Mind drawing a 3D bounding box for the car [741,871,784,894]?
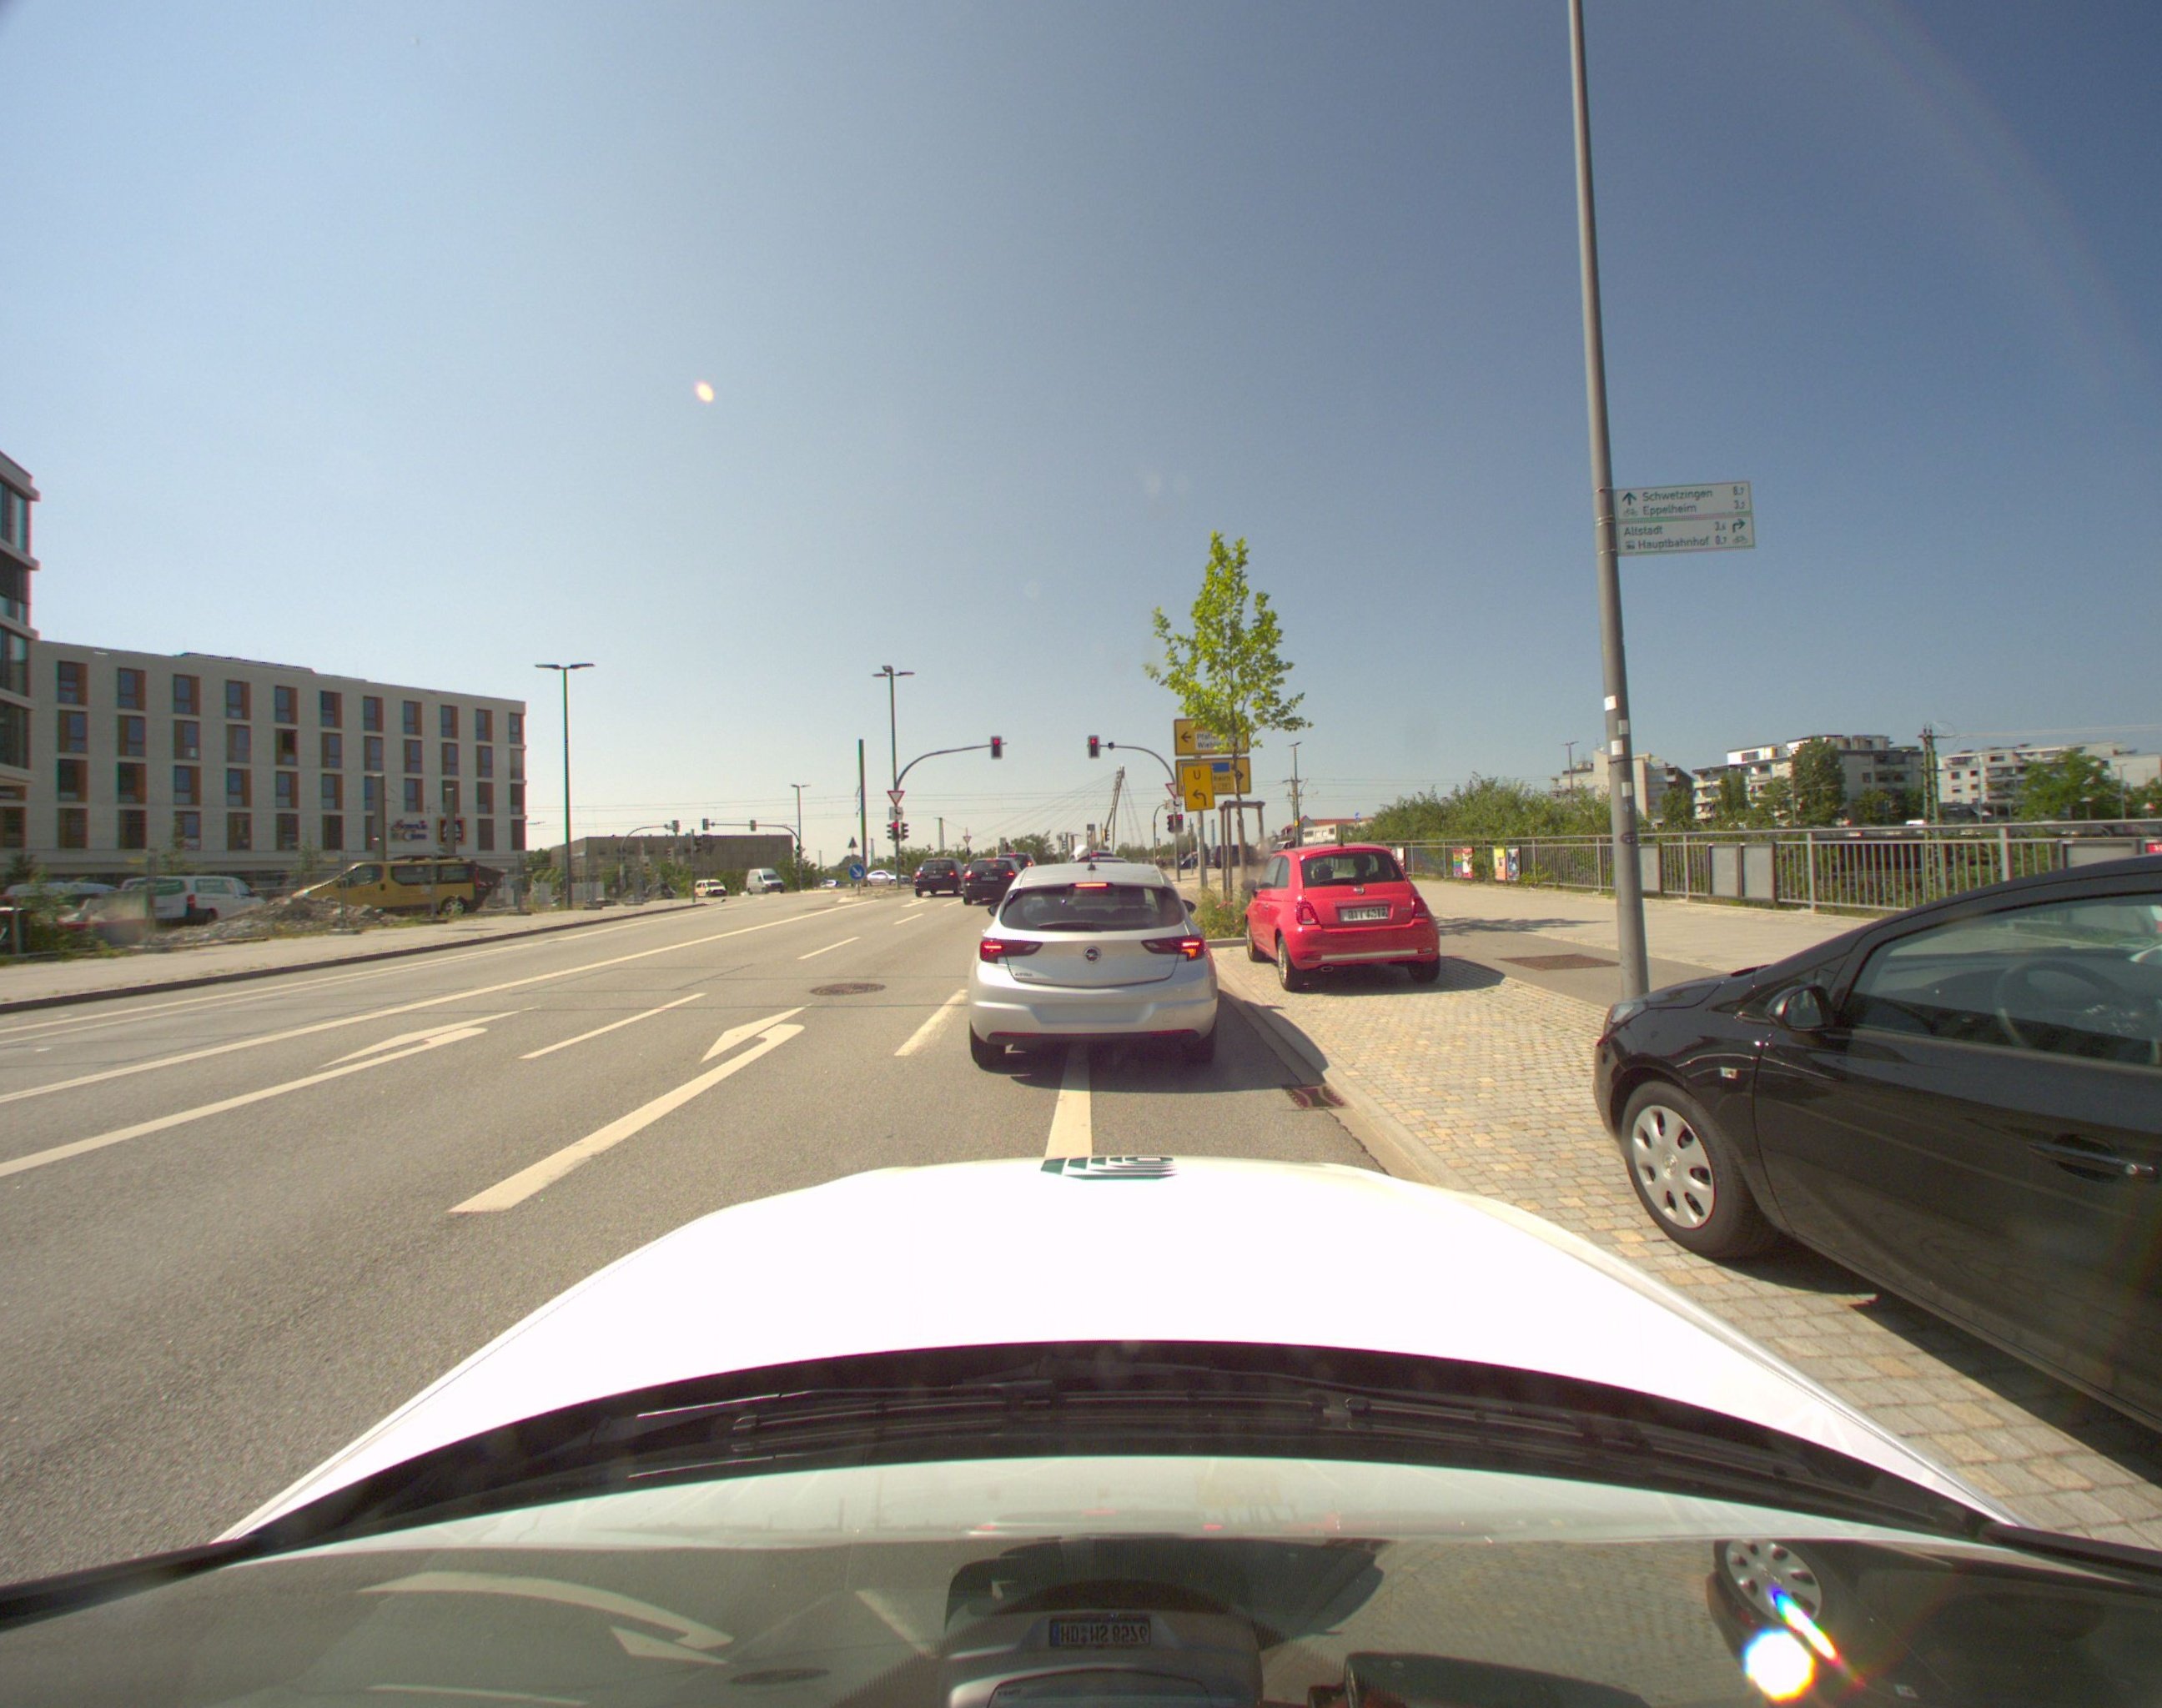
[{"bbox_3d":[-29.972,2.646,76.504,4.778,2.119,1.808,-1,-1,42],"label":"car"}]

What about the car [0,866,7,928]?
[{"bbox_3d":[-36.166,1.403,25.048,2.220,2.056,4.133,0,-1,-28],"label":"car"}]

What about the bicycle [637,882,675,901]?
[{"bbox_3d":[-26.399,2.339,50.574,2.337,1.127,0.681,-1,-1,21],"label":"bicycle"}]

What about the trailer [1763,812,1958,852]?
[{"bbox_3d":[68.116,-1.802,71.137,17.225,3.204,3.723,0,-1,-14],"label":"trailer"}]

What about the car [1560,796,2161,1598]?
[{"bbox_3d":[2.876,0.640,1.744,1.576,1.555,3.548,-4,0,1],"label":"car"}]

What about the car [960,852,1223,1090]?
[{"bbox_3d":[0.114,0.776,7.440,1.685,1.520,4.271,-1,0,1],"label":"car"}]

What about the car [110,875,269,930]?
[{"bbox_3d":[-31.032,1.626,28.571,2.003,1.707,4.526,0,-1,-23],"label":"car"}]

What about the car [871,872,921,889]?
[{"bbox_3d":[-15.019,2.111,65.995,3.668,1.333,1.782,-1,-1,27],"label":"car"}]

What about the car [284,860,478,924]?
[{"bbox_3d":[-22.638,1.149,26.498,1.974,1.890,4.514,-1,-1,40],"label":"car"}]

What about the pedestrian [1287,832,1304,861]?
[{"bbox_3d":[13.731,-0.461,52.169,0.747,1.863,0.744,0,-1,-44],"label":"pedestrian"}]

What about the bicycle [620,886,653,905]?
[{"bbox_3d":[-31.661,2.952,58.015,2.500,1.134,0.733,-5,-2,27],"label":"bicycle"}]

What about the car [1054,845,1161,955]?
[{"bbox_3d":[0.441,0.729,14.283,1.629,1.674,3.745,0,-1,1],"label":"car"}]

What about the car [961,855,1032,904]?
[{"bbox_3d":[-2.611,0.778,25.909,1.699,1.412,4.001,0,-1,2],"label":"car"}]

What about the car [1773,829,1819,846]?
[{"bbox_3d":[71.401,-1.605,81.328,3.513,1.641,1.791,0,-1,-16],"label":"car"}]

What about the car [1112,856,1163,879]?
[{"bbox_3d":[4.367,1.055,63.530,3.835,1.684,1.663,-1,-1,-2],"label":"car"}]

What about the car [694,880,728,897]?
[{"bbox_3d":[-35.226,3.245,77.470,3.453,1.524,1.649,-1,-1,40],"label":"car"}]

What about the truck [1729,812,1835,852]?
[{"bbox_3d":[59.298,-1.804,68.959,6.478,3.204,3.721,0,-1,-14],"label":"truck"}]

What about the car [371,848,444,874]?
[{"bbox_3d":[-54.290,0.578,65.733,3.990,2.014,1.991,0,-1,-12],"label":"car"}]

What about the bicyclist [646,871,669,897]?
[{"bbox_3d":[-26.336,1.869,50.611,0.937,1.569,0.827,-1,-1,23],"label":"bicyclist"}]

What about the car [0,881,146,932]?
[{"bbox_3d":[-33.730,1.685,27.238,1.809,1.508,3.965,0,-1,-27],"label":"car"}]

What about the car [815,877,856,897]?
[{"bbox_3d":[-26.261,3.489,87.139,3.948,2.014,2.013,-1,-1,32],"label":"car"}]

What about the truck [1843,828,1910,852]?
[{"bbox_3d":[82.751,-1.450,84.716,5.858,2.367,2.109,0,-1,-12],"label":"truck"}]

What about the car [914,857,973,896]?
[{"bbox_3d":[-5.205,0.838,31.228,1.581,1.395,3.340,-1,-1,1],"label":"car"}]

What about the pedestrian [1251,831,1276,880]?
[{"bbox_3d":[6.903,0.078,30.866,0.755,1.830,0.885,0,-1,1],"label":"pedestrian"}]

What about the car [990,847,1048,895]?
[{"bbox_3d":[-2.352,0.660,31.920,1.797,1.622,3.917,-4,-1,1],"label":"car"}]

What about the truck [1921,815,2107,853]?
[{"bbox_3d":[87.398,-1.781,76.263,17.857,3.204,3.723,0,-1,-14],"label":"truck"}]

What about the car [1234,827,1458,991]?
[{"bbox_3d":[3.006,0.575,10.080,1.662,1.540,3.921,-3,-1,4],"label":"car"}]

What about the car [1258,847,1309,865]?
[{"bbox_3d":[19.270,0.180,77.455,4.254,1.673,1.989,-1,-1,-16],"label":"car"}]

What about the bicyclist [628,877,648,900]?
[{"bbox_3d":[-31.508,2.447,57.923,0.814,1.560,0.868,-1,-1,27],"label":"bicyclist"}]

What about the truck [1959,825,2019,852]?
[{"bbox_3d":[99.740,-1.684,89.496,5.867,2.883,2.106,0,-1,-17],"label":"truck"}]

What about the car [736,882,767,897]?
[{"bbox_3d":[-40.452,4.355,100.069,4.155,1.645,1.844,-1,-1,41],"label":"car"}]

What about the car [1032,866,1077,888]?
[{"bbox_3d":[-2.476,2.112,76.429,3.967,2.014,2.003,0,-1,5],"label":"car"}]

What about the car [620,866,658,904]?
[{"bbox_3d":[-24.087,1.652,44.476,1.679,2.014,3.964,0,-1,-27],"label":"car"}]

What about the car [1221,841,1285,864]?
[{"bbox_3d":[13.597,-0.118,64.388,4.548,1.783,1.993,0,-1,-11],"label":"car"}]
